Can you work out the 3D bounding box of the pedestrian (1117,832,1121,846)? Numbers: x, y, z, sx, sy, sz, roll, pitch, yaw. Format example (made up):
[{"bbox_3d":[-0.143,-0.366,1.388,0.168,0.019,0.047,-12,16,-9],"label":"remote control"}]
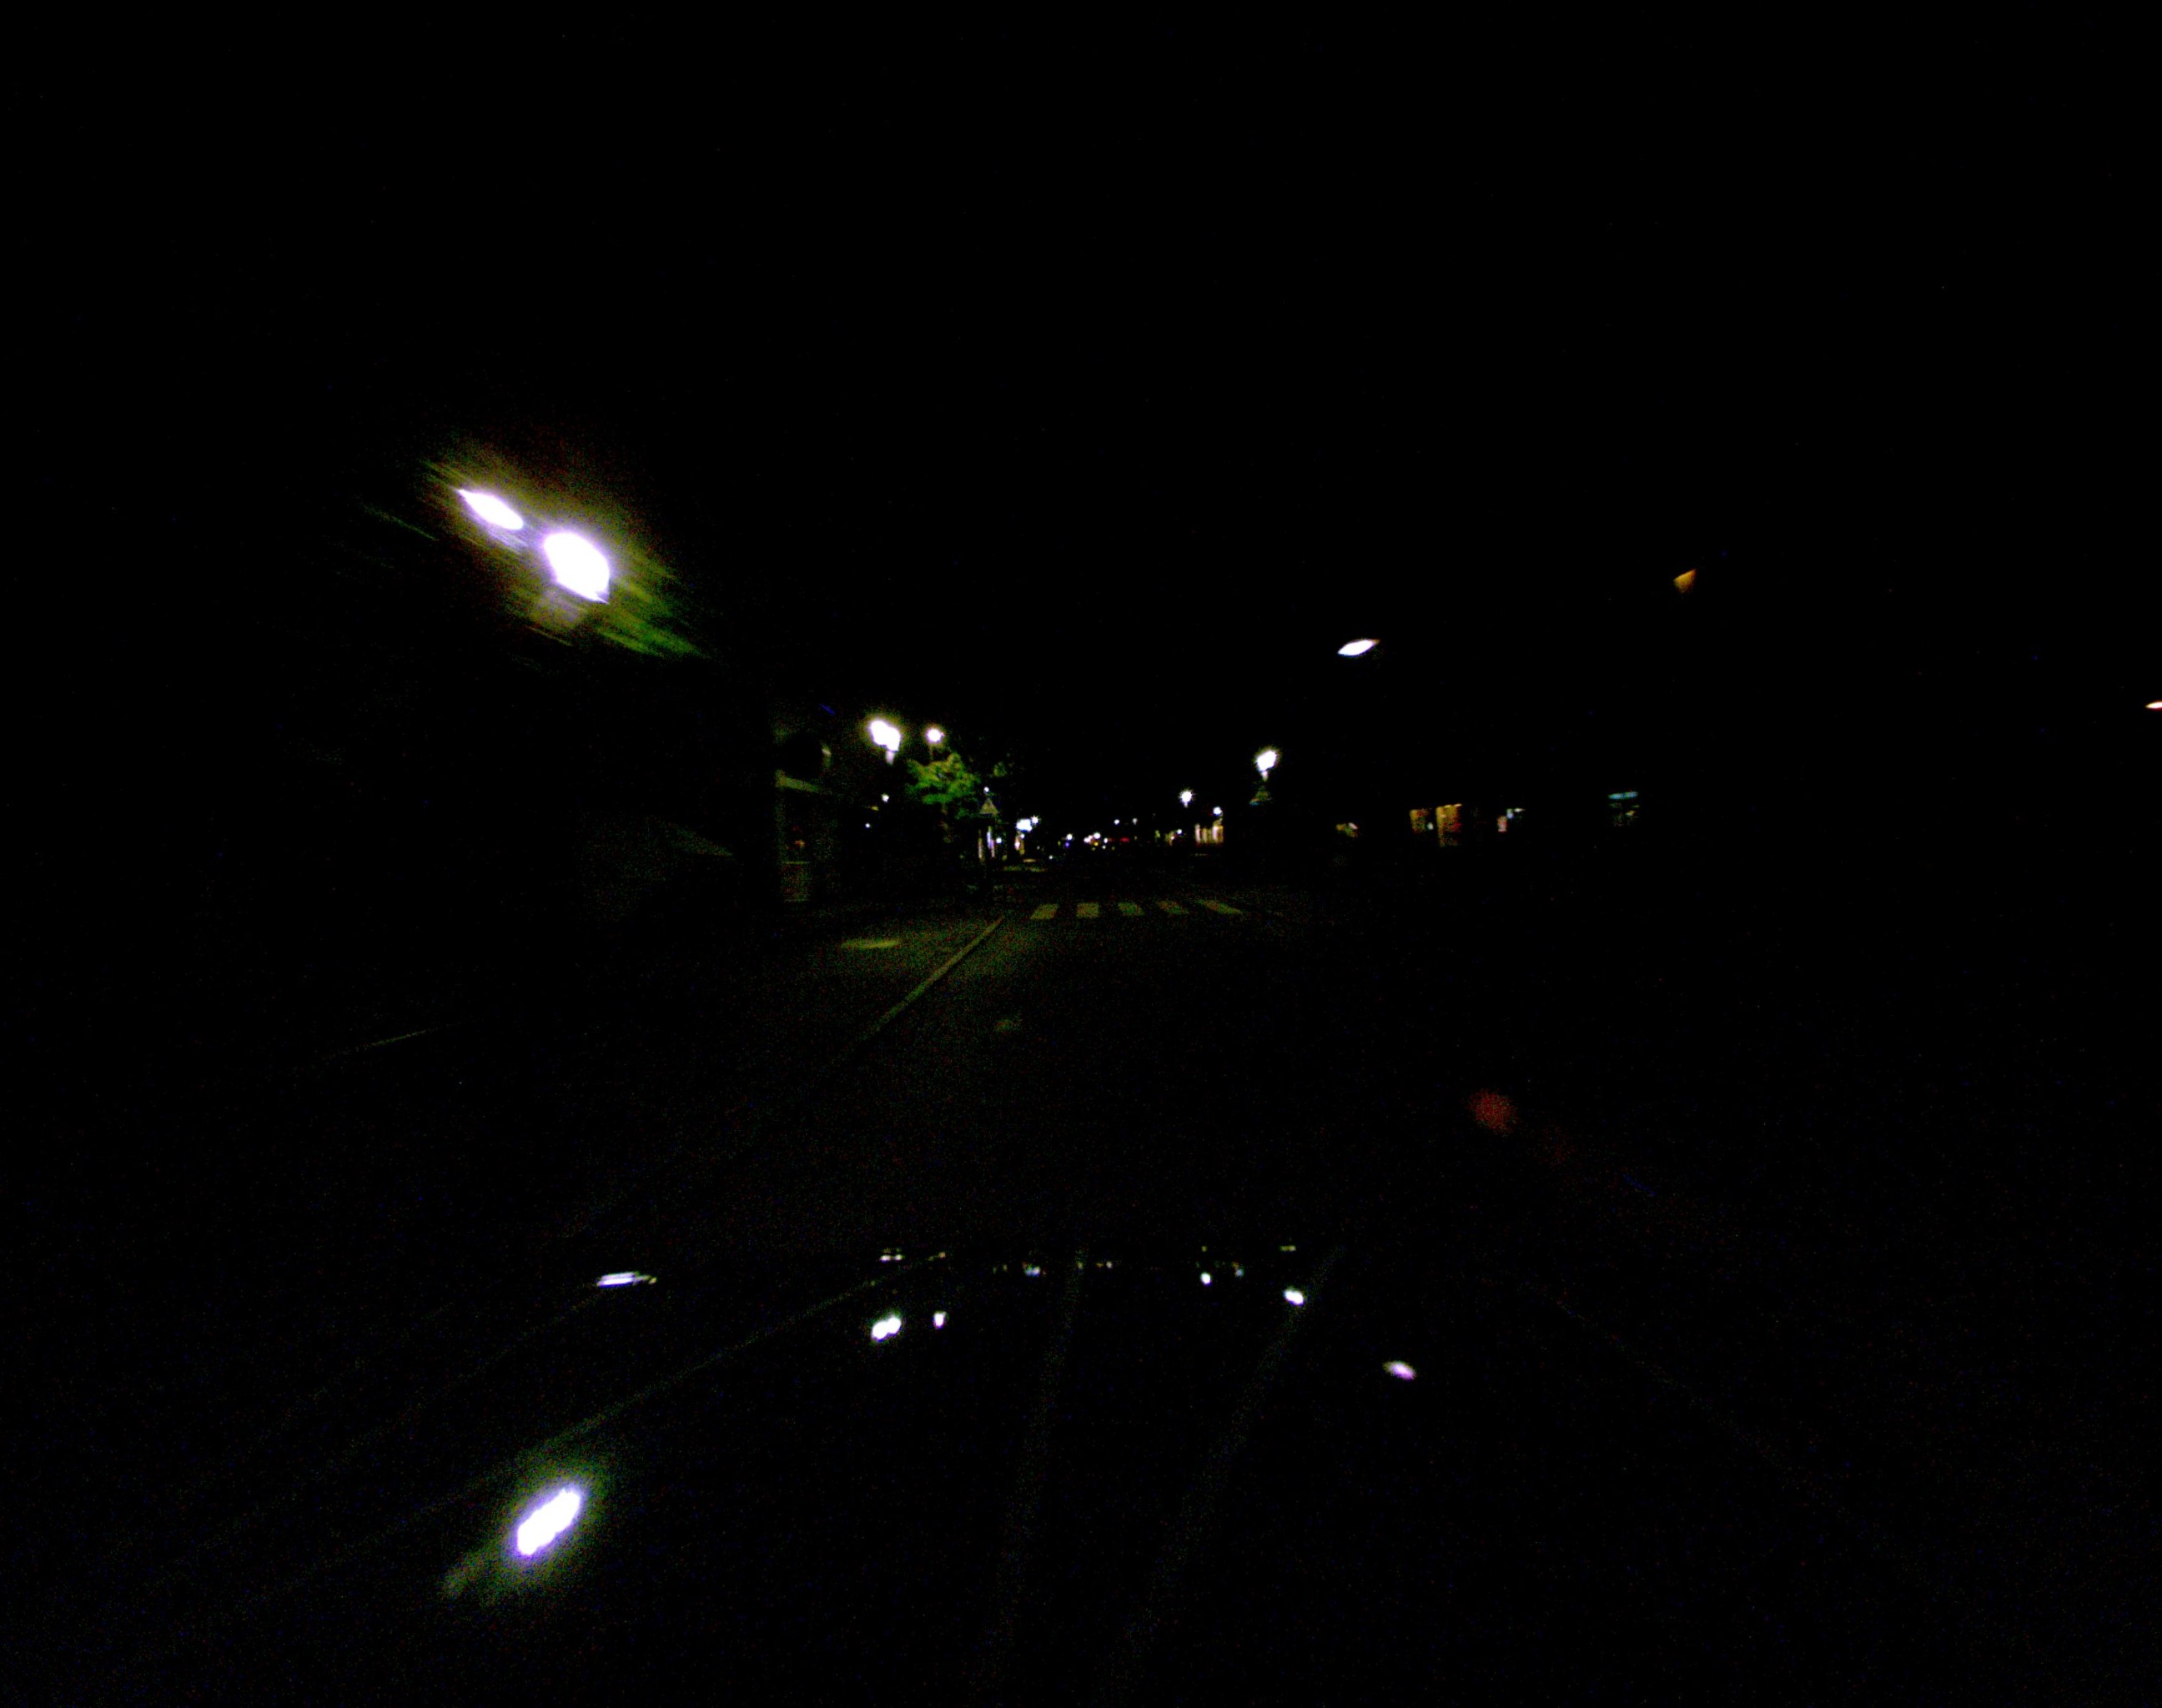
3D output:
[{"bbox_3d":[5.147,-2.048,103.547,0.502,1.812,0.503,-2,3,2],"label":"pedestrian"}]

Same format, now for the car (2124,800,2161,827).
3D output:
[{"bbox_3d":[66.837,-2.563,47.453,3.425,1.560,1.571,-5,3,-43],"label":"car"}]

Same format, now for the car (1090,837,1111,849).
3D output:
[{"bbox_3d":[2.688,-1.557,106.084,1.911,1.533,4.776,-4,2,-12],"label":"car"}]

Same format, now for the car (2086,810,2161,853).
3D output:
[{"bbox_3d":[42.659,-0.911,30.751,1.816,1.628,4.008,0,2,45],"label":"car"}]

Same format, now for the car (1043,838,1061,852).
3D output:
[{"bbox_3d":[-3.700,-1.149,96.101,1.747,1.479,4.631,-3,2,-7],"label":"car"}]

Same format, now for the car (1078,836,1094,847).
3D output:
[{"bbox_3d":[0.759,-1.961,116.835,1.776,1.565,4.478,-4,2,-8],"label":"car"}]

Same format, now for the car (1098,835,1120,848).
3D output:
[{"bbox_3d":[3.658,-1.629,99.965,1.764,1.628,4.809,-3,1,-10],"label":"car"}]

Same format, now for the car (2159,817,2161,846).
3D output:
[{"bbox_3d":[60.261,-1.191,41.232,3.425,1.560,1.571,-5,3,-43],"label":"car"}]

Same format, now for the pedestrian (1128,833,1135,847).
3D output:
[{"bbox_3d":[6.885,-1.874,103.528,0.794,1.807,1.023,-4,2,-2],"label":"pedestrian"}]

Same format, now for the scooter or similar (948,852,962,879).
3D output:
[{"bbox_3d":[-6.231,0.556,37.493,0.374,1.270,1.305,-2,3,2],"label":"scooter or similar"}]

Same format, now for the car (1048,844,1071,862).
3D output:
[{"bbox_3d":[-1.886,-0.085,66.280,1.739,1.432,4.494,-3,1,-4],"label":"car"}]
